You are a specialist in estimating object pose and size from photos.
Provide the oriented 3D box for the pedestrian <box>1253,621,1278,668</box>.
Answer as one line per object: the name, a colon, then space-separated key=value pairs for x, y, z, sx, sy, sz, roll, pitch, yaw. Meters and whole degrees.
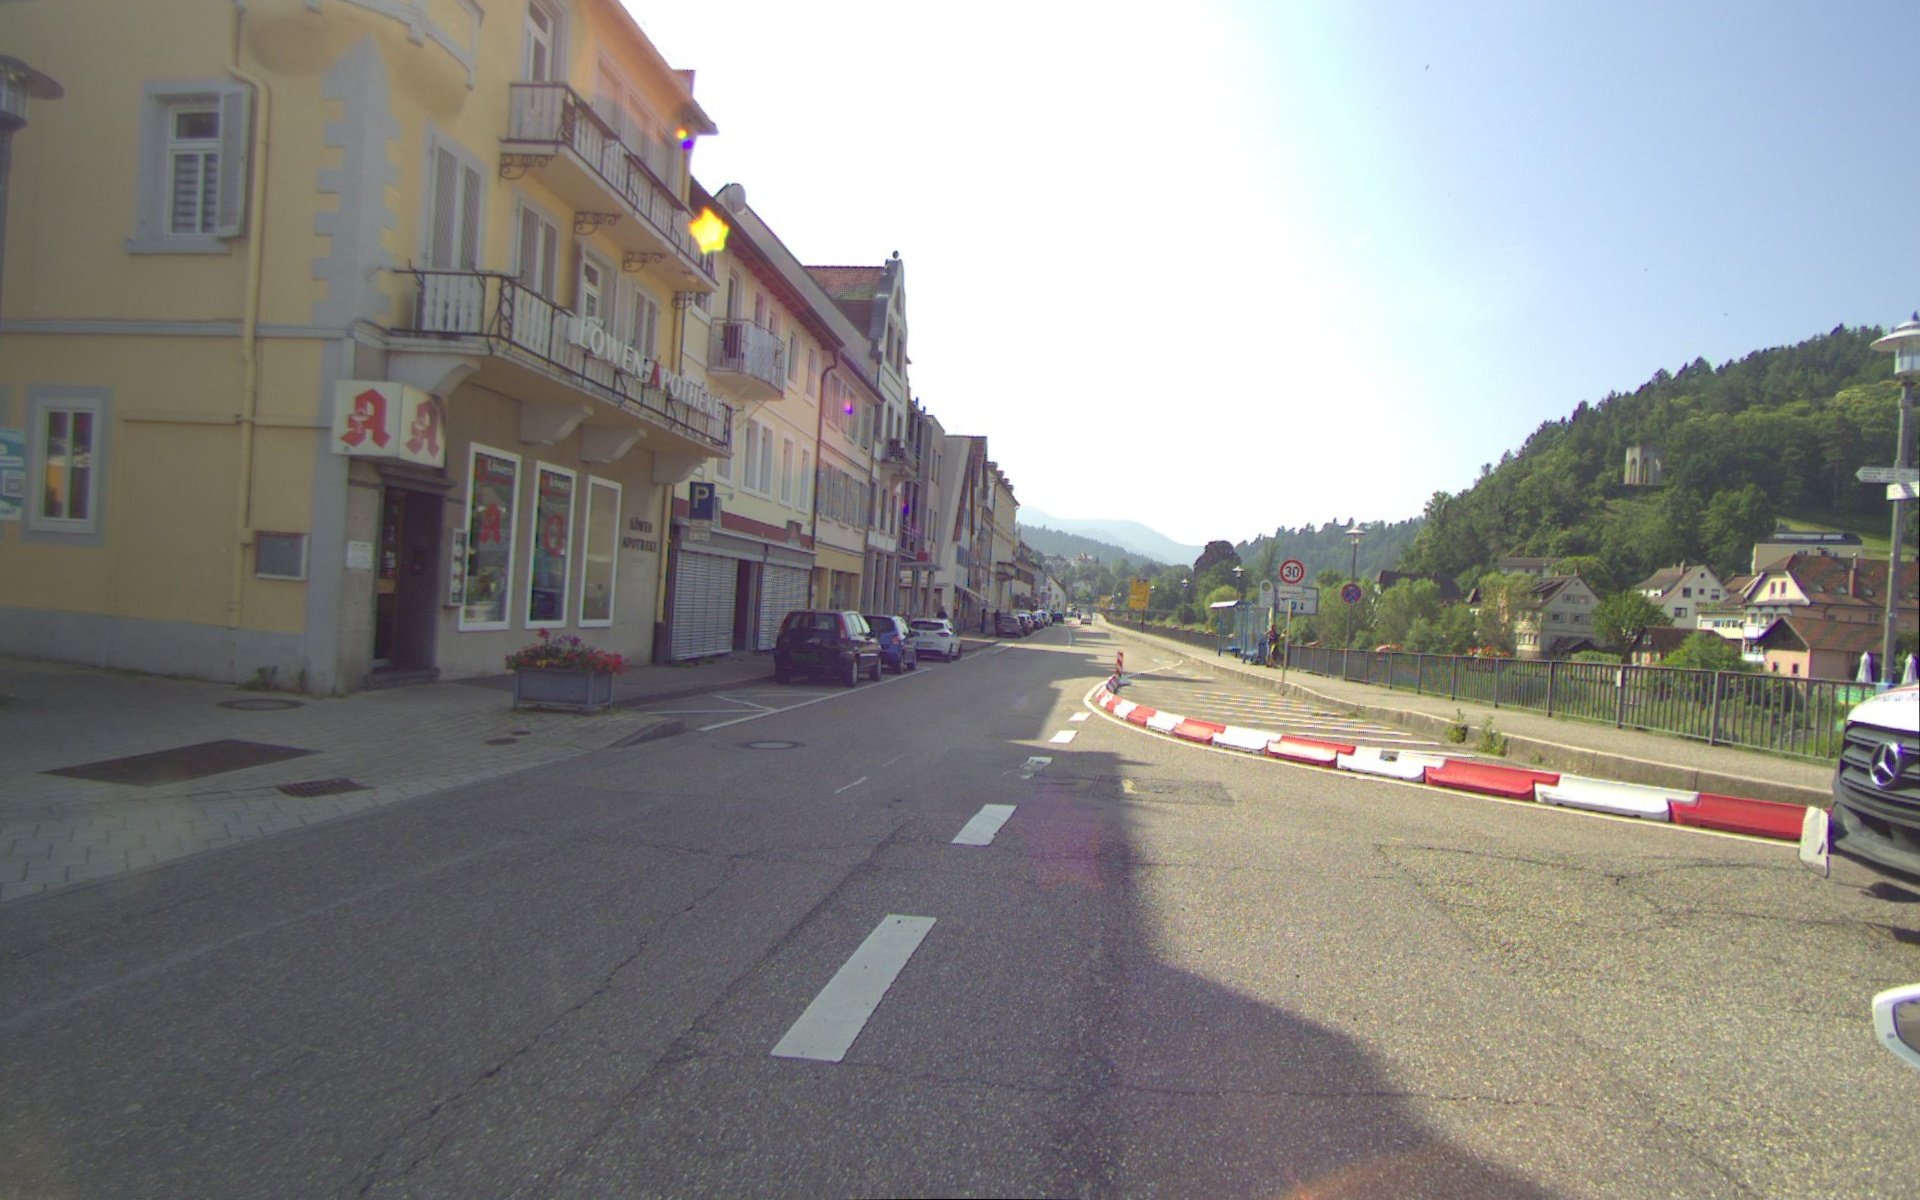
pedestrian: x=11.632 y=1.680 z=38.235 sx=0.776 sy=1.728 sz=0.492 roll=3 pitch=0 yaw=9

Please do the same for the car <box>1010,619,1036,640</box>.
car: x=4.793 y=2.191 z=76.235 sx=1.717 sy=1.467 sz=3.278 roll=3 pitch=-1 yaw=6

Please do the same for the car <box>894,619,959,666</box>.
car: x=-1.108 y=1.429 z=35.002 sx=1.717 sy=1.467 sz=3.797 roll=3 pitch=-1 yaw=6

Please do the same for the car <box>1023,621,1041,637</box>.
car: x=7.518 y=3.026 z=105.249 sx=1.717 sy=1.467 sz=3.278 roll=3 pitch=-1 yaw=6

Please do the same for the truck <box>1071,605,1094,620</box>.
truck: x=28.240 y=2.911 z=231.597 sx=3.020 sy=3.307 sz=9.206 roll=3 pitch=-1 yaw=20

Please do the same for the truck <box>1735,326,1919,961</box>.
truck: x=7.622 y=0.324 z=3.868 sx=6.989 sy=2.734 sz=2.113 roll=3 pitch=-1 yaw=15

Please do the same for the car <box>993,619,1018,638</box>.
car: x=3.217 y=1.961 z=70.442 sx=1.537 sy=1.236 sz=3.278 roll=3 pitch=-1 yaw=6

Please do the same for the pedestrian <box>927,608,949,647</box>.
pedestrian: x=-0.996 y=1.258 z=45.346 sx=0.679 sy=1.719 sz=0.658 roll=2 pitch=0 yaw=35

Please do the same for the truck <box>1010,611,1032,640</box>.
truck: x=5.686 y=2.337 z=93.168 sx=1.717 sy=2.500 sz=4.664 roll=3 pitch=-1 yaw=6

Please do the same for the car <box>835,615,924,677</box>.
car: x=-2.075 y=1.174 z=26.745 sx=1.717 sy=1.467 sz=3.278 roll=3 pitch=-1 yaw=6

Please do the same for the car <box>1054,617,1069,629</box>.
car: x=15.452 y=3.505 z=152.670 sx=1.960 sy=1.684 sz=4.002 roll=4 pitch=0 yaw=7

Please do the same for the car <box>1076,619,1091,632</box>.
car: x=18.250 y=3.716 z=148.407 sx=1.960 sy=1.684 sz=4.002 roll=4 pitch=0 yaw=7

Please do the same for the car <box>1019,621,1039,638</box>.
car: x=6.832 y=2.901 z=99.079 sx=1.717 sy=1.467 sz=3.278 roll=3 pitch=-1 yaw=6

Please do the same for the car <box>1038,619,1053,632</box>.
car: x=10.528 y=3.070 z=122.969 sx=1.717 sy=1.467 sz=3.278 roll=3 pitch=-1 yaw=6

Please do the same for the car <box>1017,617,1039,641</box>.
car: x=5.932 y=2.504 z=87.238 sx=1.717 sy=1.960 sz=3.579 roll=3 pitch=-1 yaw=6

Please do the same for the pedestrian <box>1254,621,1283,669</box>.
pedestrian: x=11.542 y=1.682 z=37.598 sx=0.852 sy=1.728 sz=0.778 roll=3 pitch=0 yaw=9

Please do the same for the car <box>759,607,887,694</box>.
car: x=-2.796 y=1.003 z=21.280 sx=1.815 sy=1.589 sz=3.570 roll=3 pitch=-1 yaw=6
